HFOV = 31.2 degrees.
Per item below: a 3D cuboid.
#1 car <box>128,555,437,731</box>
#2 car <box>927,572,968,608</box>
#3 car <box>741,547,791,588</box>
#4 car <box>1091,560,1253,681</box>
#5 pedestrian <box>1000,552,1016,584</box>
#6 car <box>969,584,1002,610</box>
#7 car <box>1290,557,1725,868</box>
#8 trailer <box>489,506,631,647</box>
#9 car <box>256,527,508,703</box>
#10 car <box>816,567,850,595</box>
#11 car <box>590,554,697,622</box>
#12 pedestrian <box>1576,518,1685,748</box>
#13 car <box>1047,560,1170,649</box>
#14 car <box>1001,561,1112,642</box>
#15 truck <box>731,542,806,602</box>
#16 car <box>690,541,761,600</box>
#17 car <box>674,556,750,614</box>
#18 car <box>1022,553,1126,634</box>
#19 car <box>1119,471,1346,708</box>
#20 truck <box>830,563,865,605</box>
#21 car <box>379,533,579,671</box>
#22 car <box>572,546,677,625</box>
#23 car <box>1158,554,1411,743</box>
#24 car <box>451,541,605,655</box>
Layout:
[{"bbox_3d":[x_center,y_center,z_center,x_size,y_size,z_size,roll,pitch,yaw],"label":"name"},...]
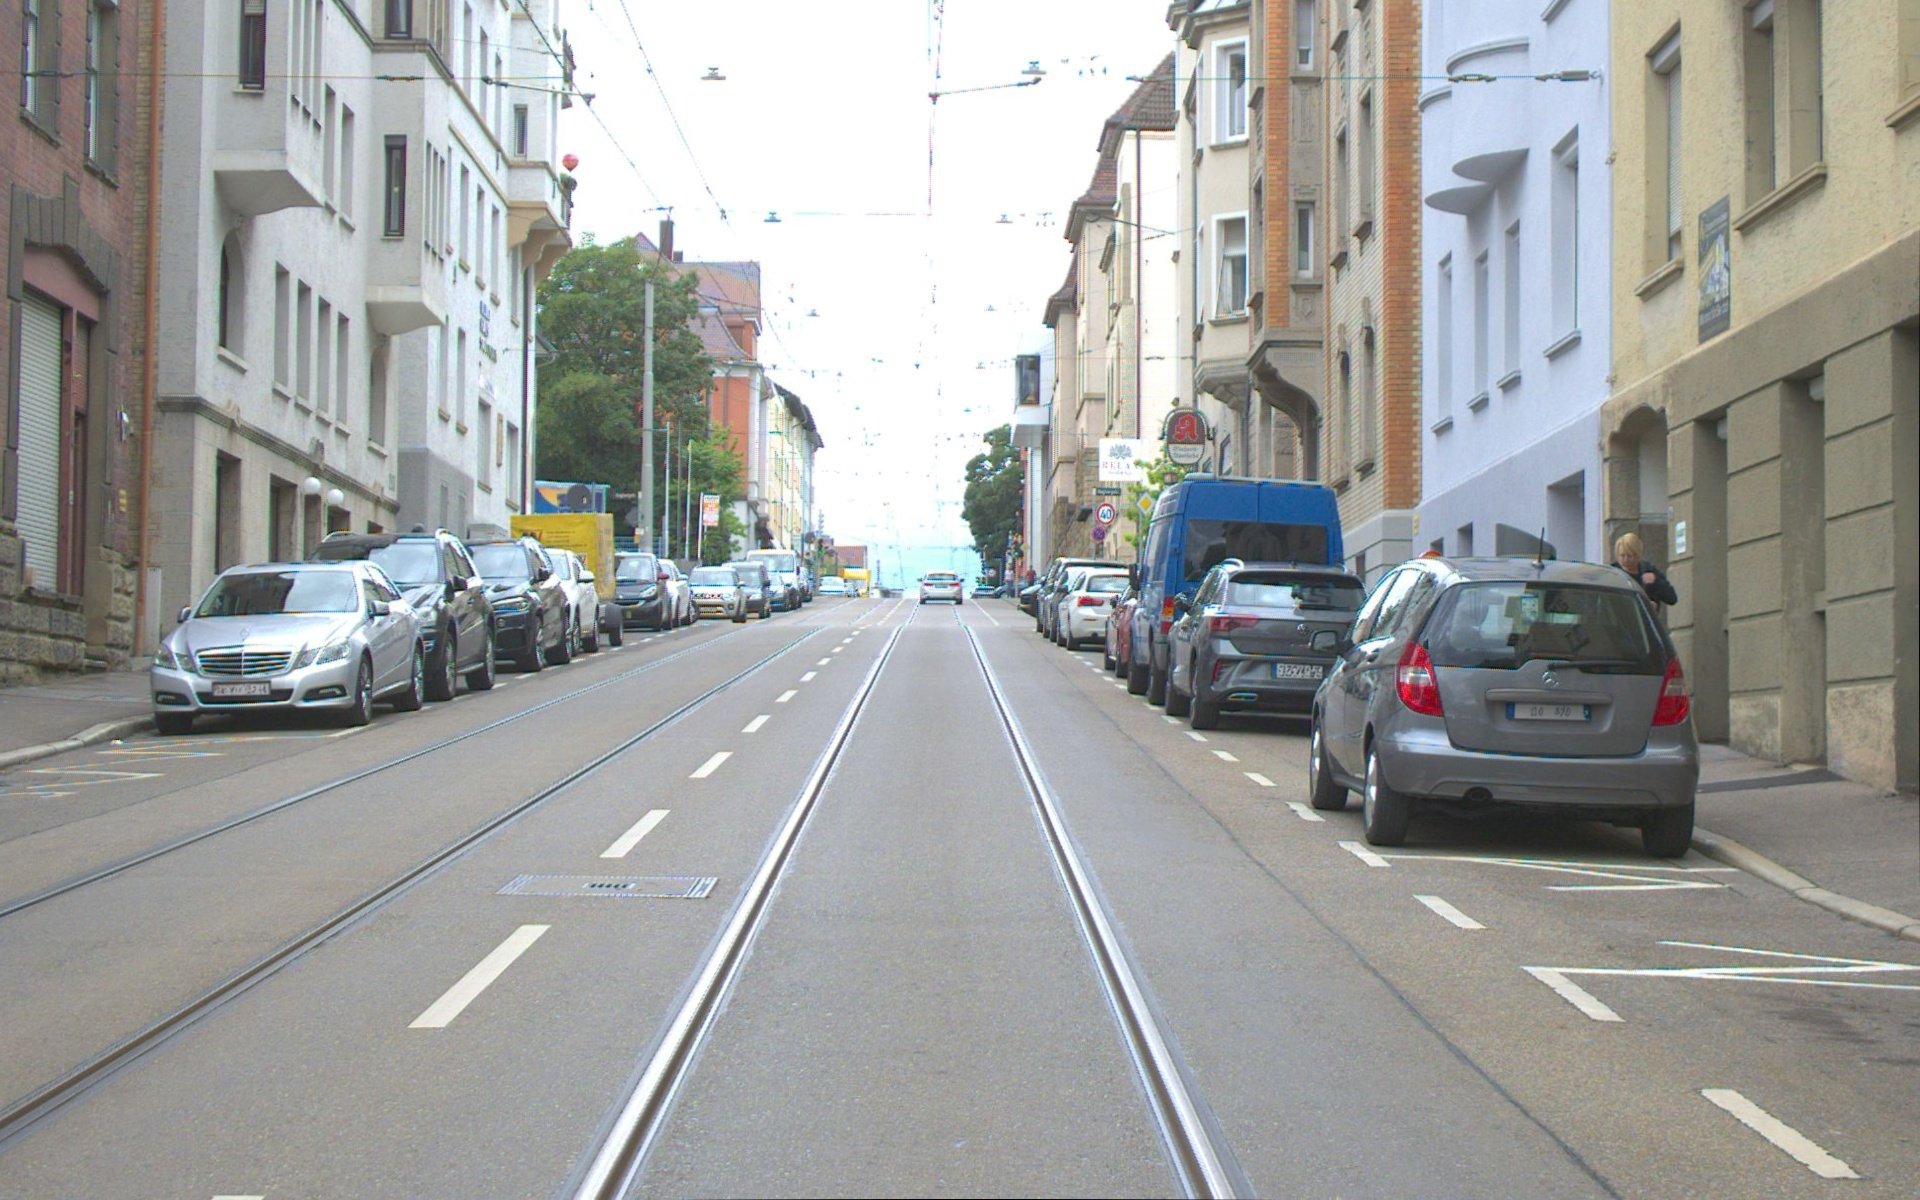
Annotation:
[{"bbox_3d":[-6.097,0.334,31.485,1.827,1.424,4.839,-1,1,0],"label":"car"},{"bbox_3d":[-0.547,-0.438,148.412,1.672,1.508,3.798,1,1,-2],"label":"car"},{"bbox_3d":[-7.003,-1.167,124.475,1.697,1.428,4.482,-1,1,-2],"label":"car"},{"bbox_3d":[2.806,0.248,46.391,1.779,1.470,4.590,3,0,-1],"label":"car"},{"bbox_3d":[2.539,-1.677,180.685,0.791,1.661,0.798,1,0,2],"label":"pedestrian"},{"bbox_3d":[1.606,-0.208,217.441,1.993,1.558,4.290,1,0,0],"label":"car"},{"bbox_3d":[3.061,0.565,20.019,1.827,1.514,4.028,3,1,0],"label":"car"},{"bbox_3d":[-6.412,-0.406,55.421,1.748,2.148,4.071,-1,1,0],"label":"trailer"},{"bbox_3d":[-6.112,0.105,36.900,1.827,1.712,4.913,-1,1,0],"label":"car"},{"bbox_3d":[-7.354,-1.101,199.159,1.855,1.601,4.297,1,0,0],"label":"car"},{"bbox_3d":[-6.603,-0.261,72.072,1.780,1.353,4.291,1,0,1],"label":"car"},{"bbox_3d":[5.029,0.251,25.802,0.540,1.676,0.516,-4,-2,-8],"label":"pedestrian"},{"bbox_3d":[2.526,0.056,59.334,1.750,1.386,4.308,3,0,-2],"label":"car"},{"bbox_3d":[1.784,0.013,64.803,1.779,1.386,4.692,3,0,-2],"label":"car"},{"bbox_3d":[-7.254,-1.061,131.138,2.280,2.180,8.025,1,0,1],"label":"truck"},{"bbox_3d":[-7.219,-0.911,106.124,1.744,1.730,4.519,-1,0,1],"label":"car"},{"bbox_3d":[-6.826,-0.423,94.887,1.697,1.551,3.850,1,0,1],"label":"car"},{"bbox_3d":[2.324,-0.151,70.995,1.735,1.532,4.574,3,0,-3],"label":"car"},{"bbox_3d":[2.890,-0.109,37.506,1.993,2.368,5.056,1,0,0],"label":"car"},{"bbox_3d":[-8.261,-1.147,253.686,2.302,3.026,9.034,1,0,-1],"label":"truck"},{"bbox_3d":[-6.226,-0.014,45.022,1.873,1.658,4.892,-1,1,0],"label":"car"},{"bbox_3d":[-6.507,-0.287,66.879,1.697,1.463,3.023,-1,0,0],"label":"car"},{"bbox_3d":[2.952,0.403,32.092,1.779,1.525,4.192,4,0,-1],"label":"car"},{"bbox_3d":[-6.394,-0.063,51.258,1.697,1.588,4.268,-1,1,0],"label":"car"}]
